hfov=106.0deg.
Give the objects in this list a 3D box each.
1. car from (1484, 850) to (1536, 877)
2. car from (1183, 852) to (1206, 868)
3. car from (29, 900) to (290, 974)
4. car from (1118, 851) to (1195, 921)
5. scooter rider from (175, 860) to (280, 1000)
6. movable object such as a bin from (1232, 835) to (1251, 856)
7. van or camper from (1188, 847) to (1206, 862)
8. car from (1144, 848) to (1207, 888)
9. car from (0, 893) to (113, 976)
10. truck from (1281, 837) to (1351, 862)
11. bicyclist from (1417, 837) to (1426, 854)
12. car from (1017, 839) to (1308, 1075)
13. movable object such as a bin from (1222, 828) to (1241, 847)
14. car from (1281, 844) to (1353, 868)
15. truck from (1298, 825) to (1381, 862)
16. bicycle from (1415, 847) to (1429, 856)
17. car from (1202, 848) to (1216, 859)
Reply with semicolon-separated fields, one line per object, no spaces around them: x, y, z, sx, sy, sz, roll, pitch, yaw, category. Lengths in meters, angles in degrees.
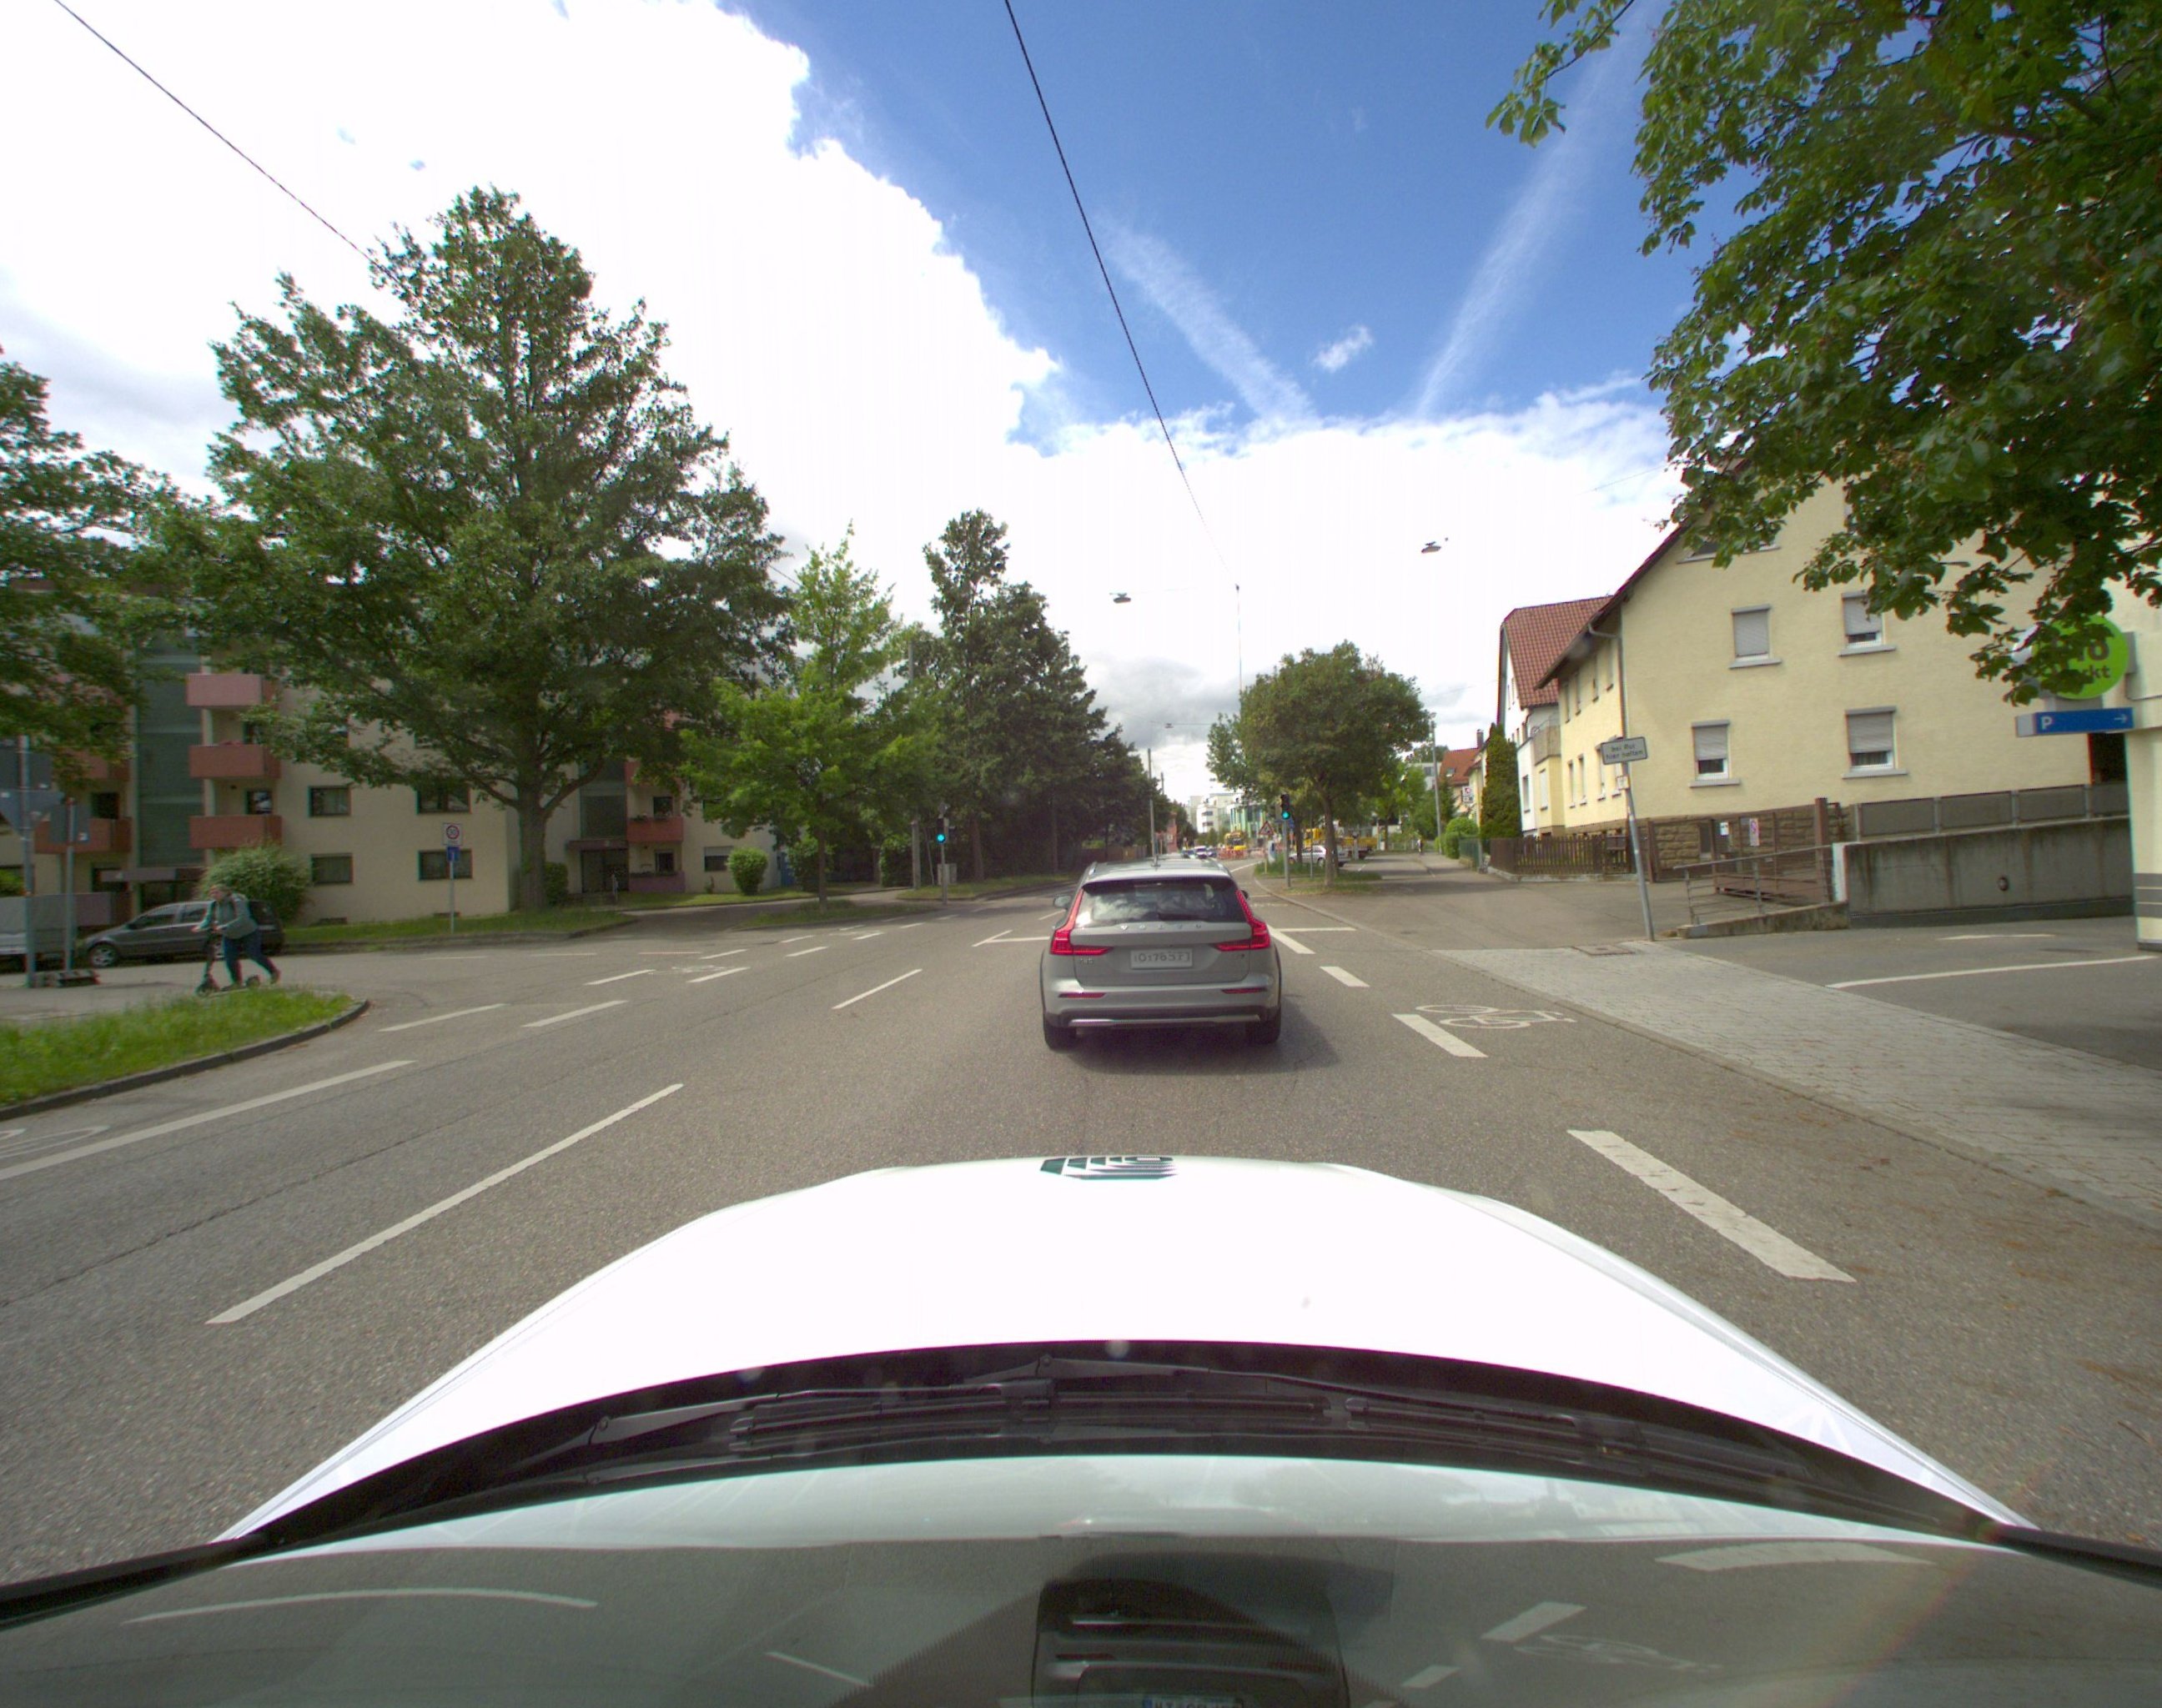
19.331;0.433;36.829;1.450;1.124;3.890;0;-1;19;car
10.370;0.591;74.101;1.816;1.330;4.012;0;-2;11;car
-22.859;2.019;20.390;3.995;1.452;1.687;-3;-1;-16;car
1.800;0.717;19.570;1.653;1.508;3.707;0;-1;5;car
-12.610;1.091;12.052;0.674;2.014;0.794;0;-1;1;scooter rider
21.492;-1.091;108.832;2.020;2.642;5.961;-3;0;13;movable object such as a bin
14.363;0.019;100.451;1.848;1.776;4.395;-3;0;12;van or camper
3.849;0.560;32.685;2.088;1.510;4.014;0;-1;13;car
-27.114;2.097;19.936;3.990;1.844;1.838;-5;0;-12;car
19.714;-0.338;68.501;2.009;2.014;5.614;1;-1;-36;truck
30.687;-0.744;73.313;0.587;1.559;0.567;0;-1;1;bicyclist
0.672;0.674;7.535;1.920;1.540;4.004;-2;1;3;car
24.320;-2.632;132.107;2.299;2.990;6.436;-3;0;5;movable object such as a bin
15.569;0.146;53.959;1.773;1.451;4.644;-2;0;-30;car
22.191;-0.829;70.178;2.780;3.008;6.639;0;-1;-32;truck
30.691;-0.234;73.305;0.592;0.812;1.754;0;0;1;bicycle
19.891;-0.060;126.623;1.982;1.737;4.009;0;-1;8;car
